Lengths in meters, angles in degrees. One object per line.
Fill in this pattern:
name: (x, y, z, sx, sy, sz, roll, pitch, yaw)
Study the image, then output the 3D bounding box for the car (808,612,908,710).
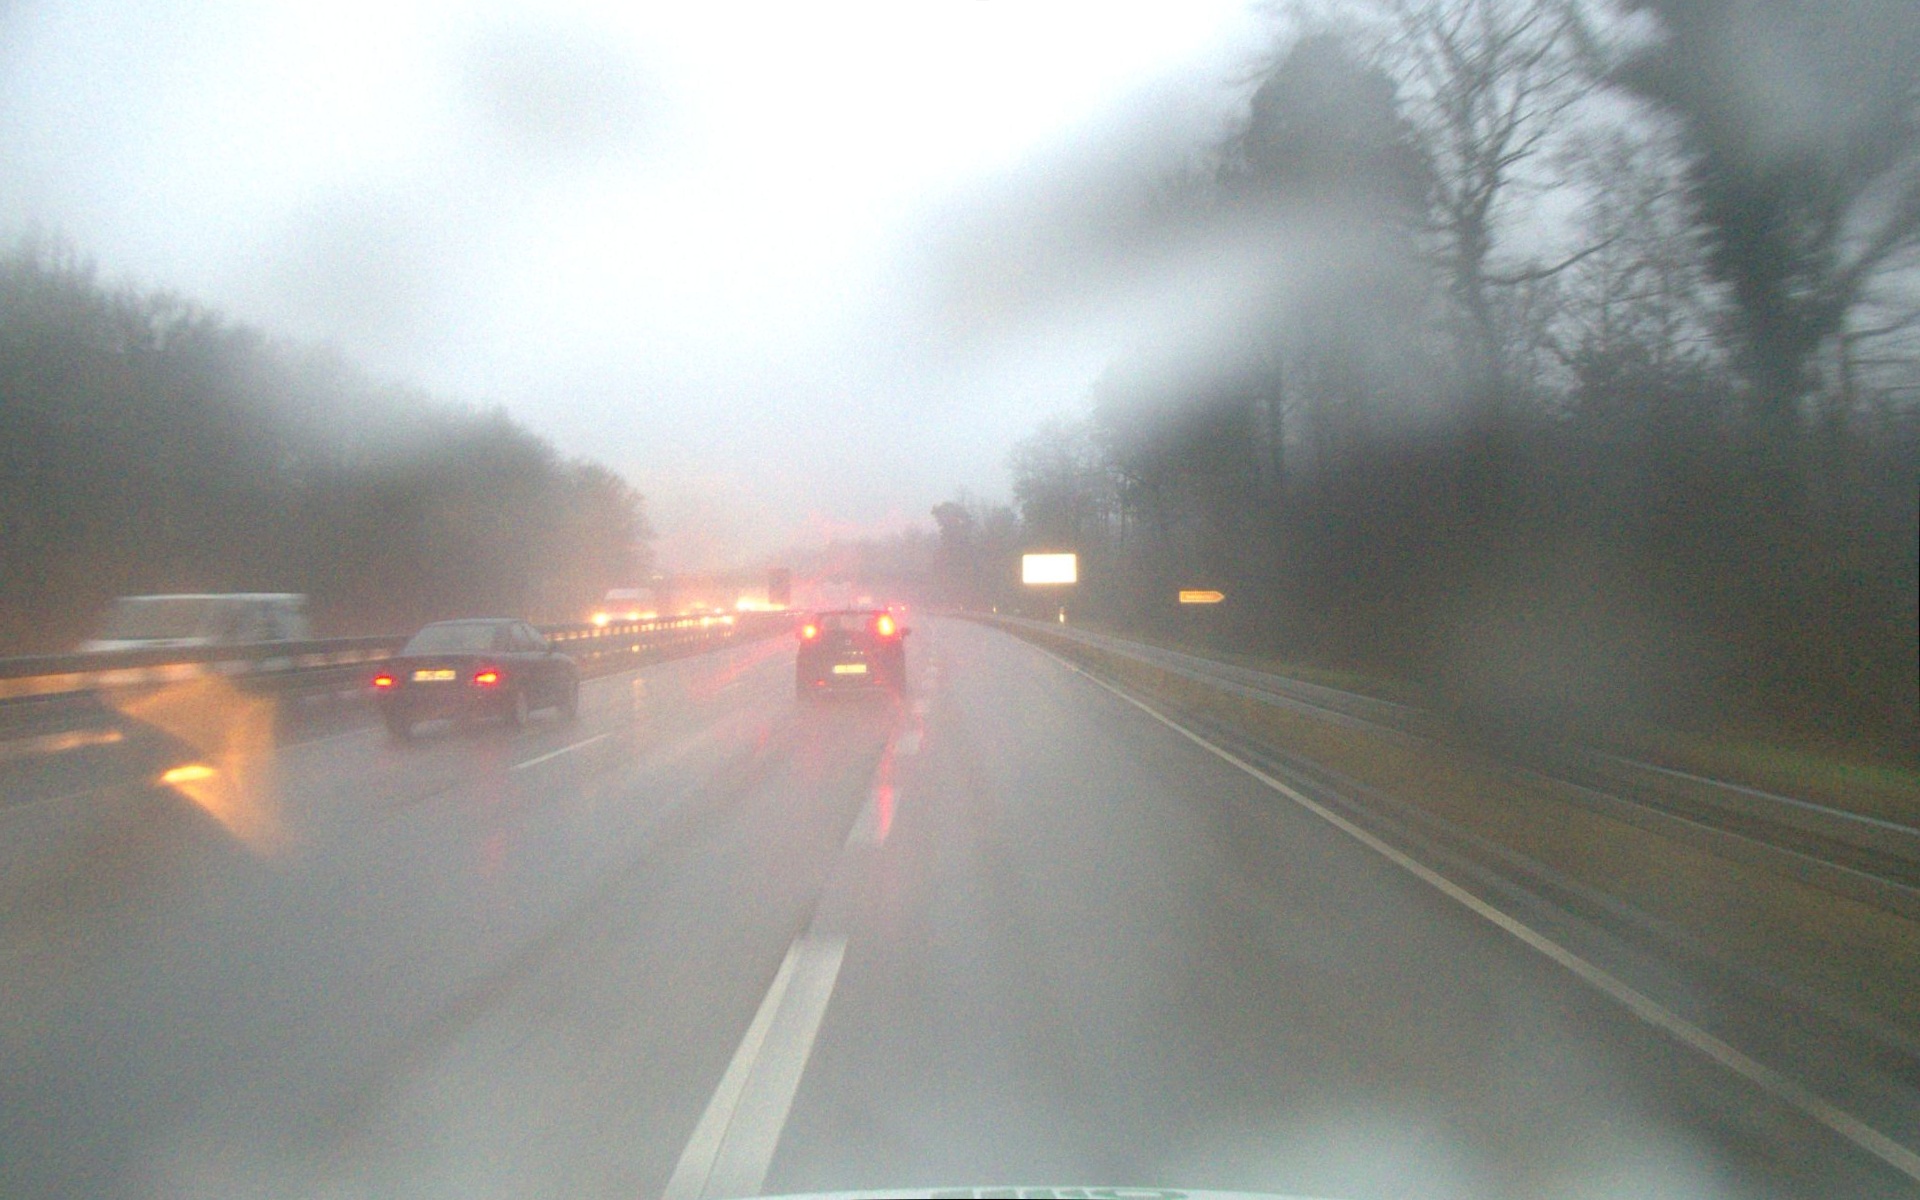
car: (-1.618, 0.941, 26.875, 1.497, 1.440, 3.477, 1, 0, -2)

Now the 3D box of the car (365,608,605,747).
car: (-6.221, 0.941, 22.247, 1.739, 1.561, 4.703, -3, 0, 1)

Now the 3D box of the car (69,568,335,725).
car: (-12.342, 0.691, 27.366, 1.934, 2.321, 5.050, -1, 0, 2)
